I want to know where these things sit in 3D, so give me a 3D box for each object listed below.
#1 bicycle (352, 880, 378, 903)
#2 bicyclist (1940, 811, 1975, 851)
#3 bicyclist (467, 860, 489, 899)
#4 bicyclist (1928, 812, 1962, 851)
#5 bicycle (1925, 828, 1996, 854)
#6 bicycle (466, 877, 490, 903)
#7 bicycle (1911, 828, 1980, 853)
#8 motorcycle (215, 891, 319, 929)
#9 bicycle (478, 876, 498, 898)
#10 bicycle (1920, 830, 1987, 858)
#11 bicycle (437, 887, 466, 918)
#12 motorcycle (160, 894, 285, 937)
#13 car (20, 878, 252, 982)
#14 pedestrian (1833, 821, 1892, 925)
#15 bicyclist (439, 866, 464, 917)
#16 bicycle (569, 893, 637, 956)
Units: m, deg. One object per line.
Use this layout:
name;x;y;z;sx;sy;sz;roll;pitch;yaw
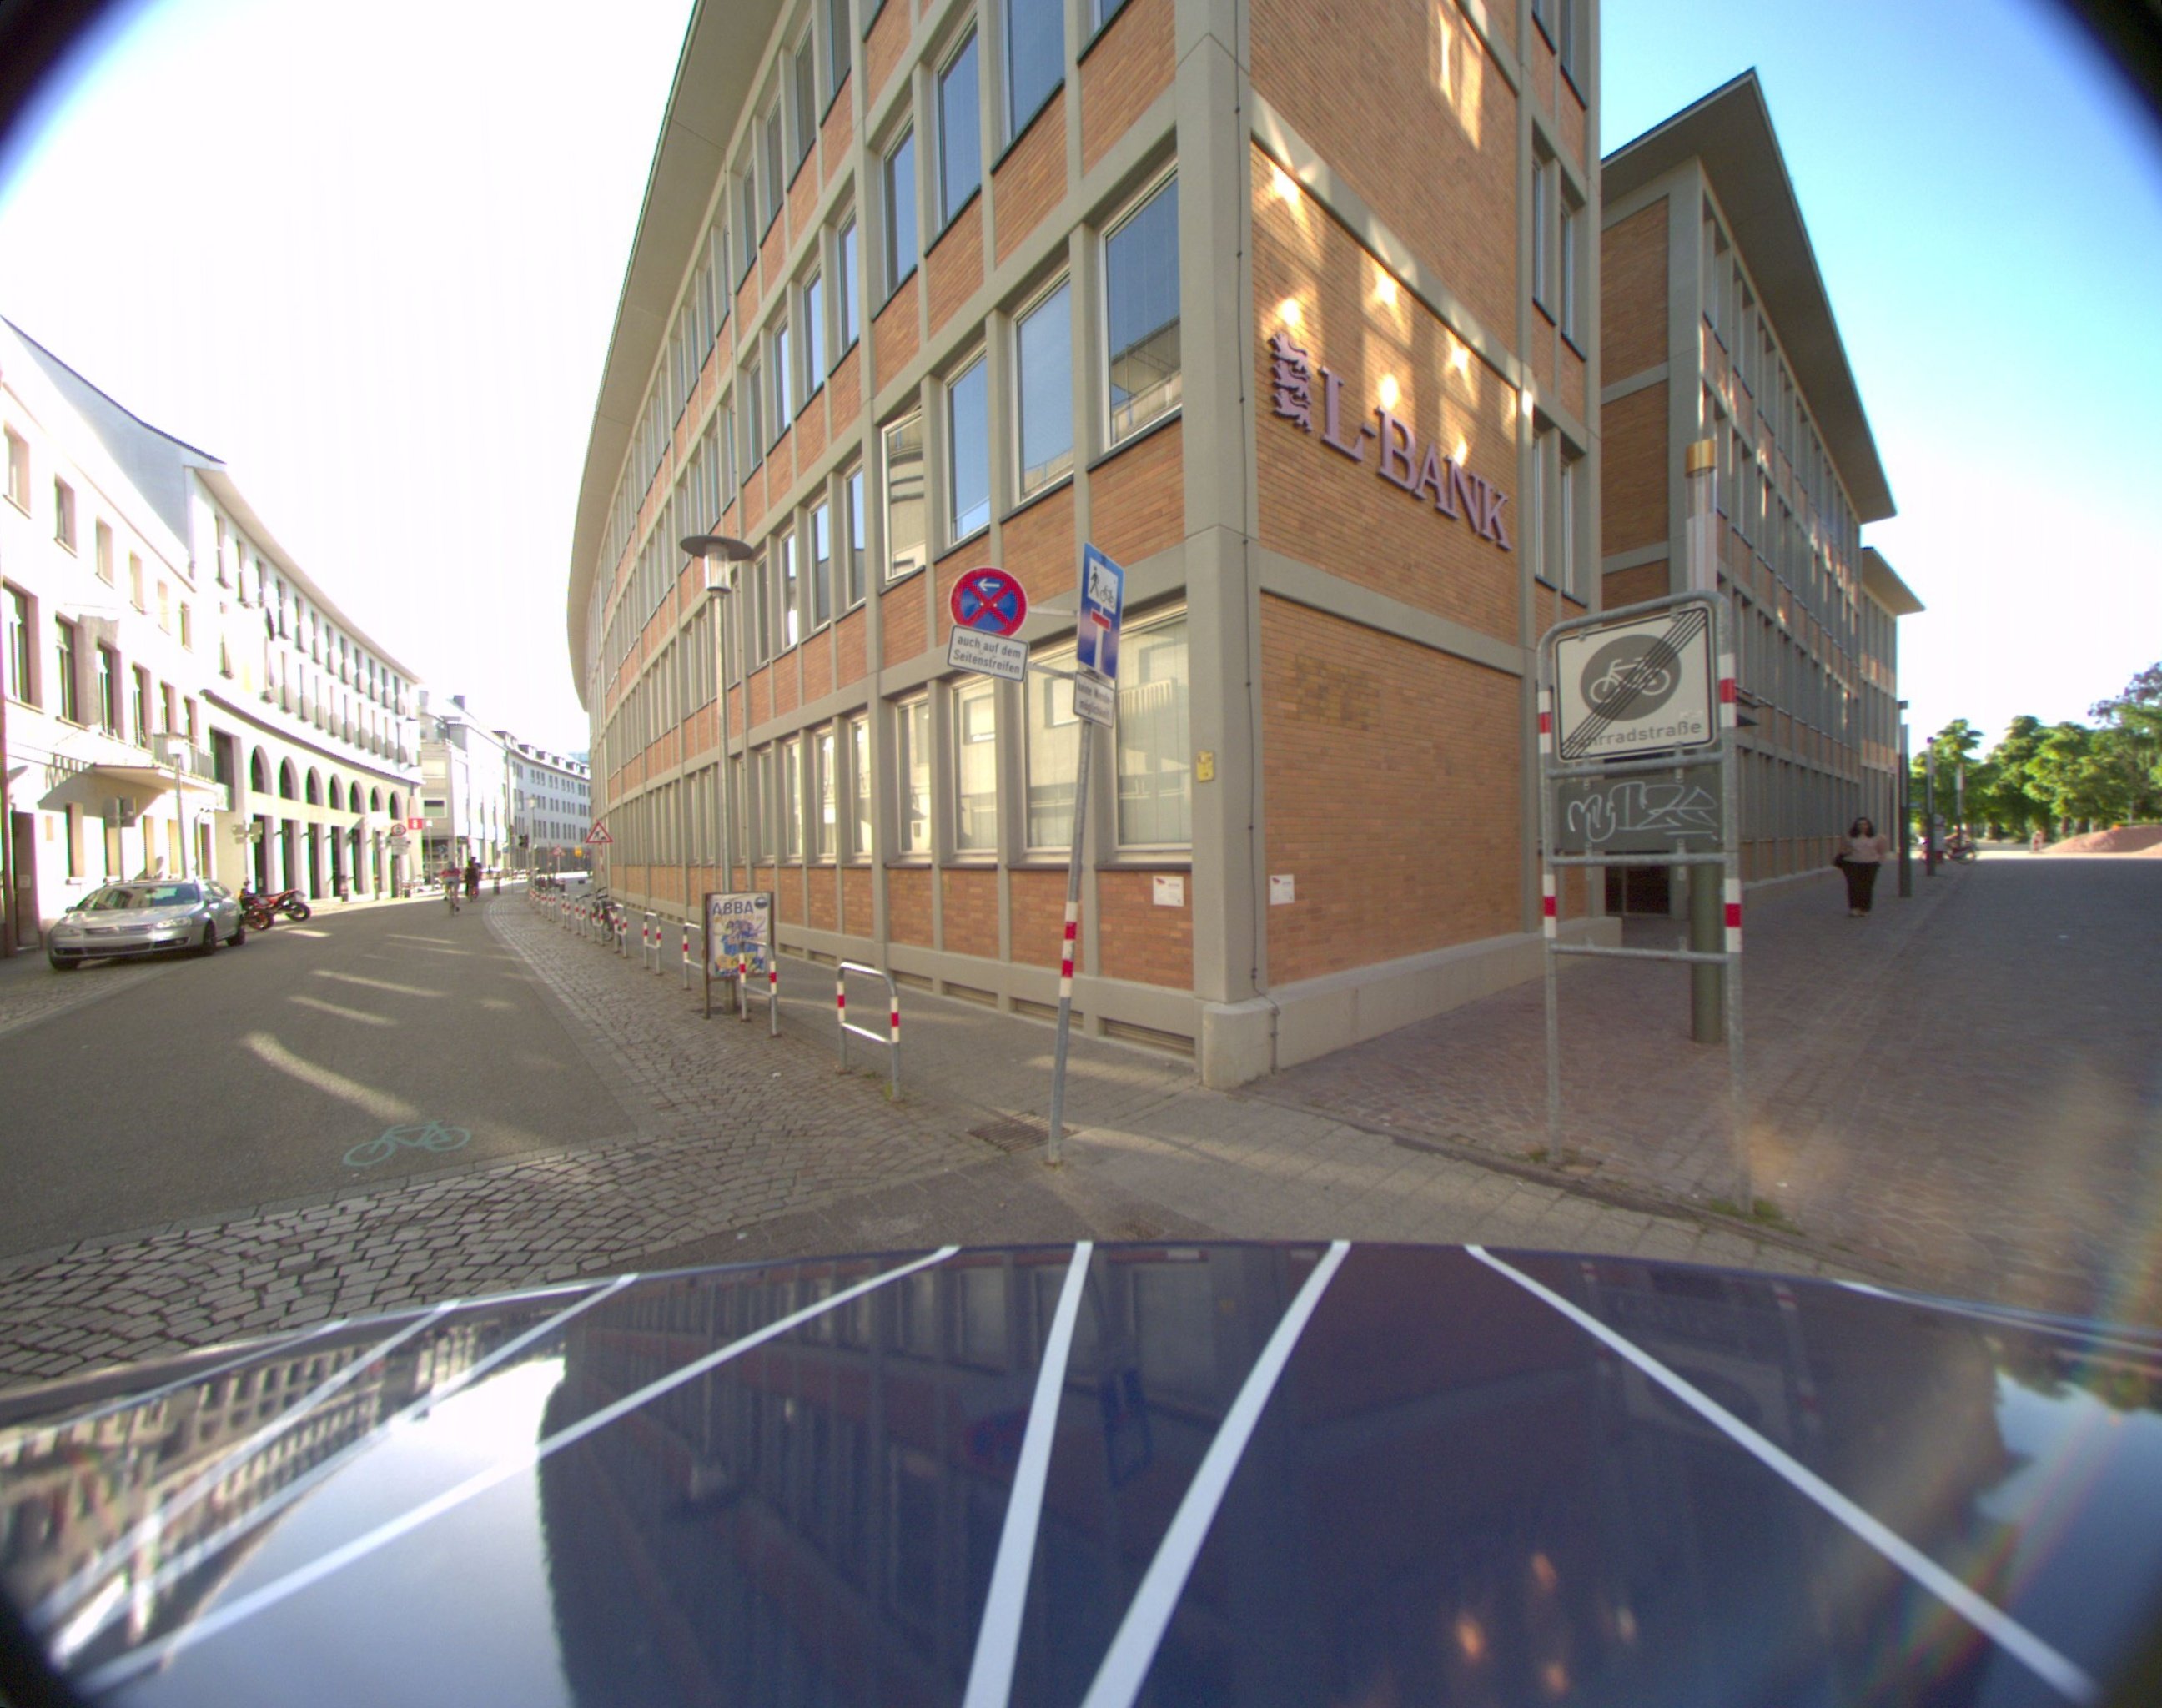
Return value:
bicycle;-33.271;1.726;35.324;0.578;0.955;1.715;-3;1;-34
bicyclist;44.702;-1.148;38.739;1.005;2.002;1.093;-3;2;-36
bicyclist;-24.679;1.047;31.108;0.582;1.566;0.690;-3;1;-35
bicyclist;45.227;-1.178;39.771;1.005;2.002;1.093;-3;2;-36
bicycle;44.778;-0.667;38.722;0.781;1.265;2.327;-3;1;-38
bicycle;-24.538;1.460;30.946;0.578;0.955;1.715;-3;1;-34
bicycle;45.199;-0.693;39.743;0.781;1.265;2.327;-3;1;-38
motorcycle;-24.308;1.663;22.738;2.002;0.950;0.644;-2;1;-26
bicycle;-27.313;1.514;35.022;0.578;0.955;1.715;-3;1;-34
bicycle;40.663;-0.466;35.433;2.071;1.253;0.724;-2;1;7
bicycle;-19.164;1.463;23.148;0.525;0.843;1.486;-3;1;-35
motorcycle;-22.033;1.564;19.563;2.002;0.950;0.644;-2;1;-26
car;-17.279;1.275;14.158;1.851;1.453;3.988;-4;2;-39
pedestrian;13.862;0.316;13.477;0.699;1.769;0.691;-3;2;-41
bicyclist;-19.246;1.134;23.233;0.474;1.495;0.793;-3;2;-36
bicycle;-9.023;1.292;14.316;1.817;1.048;0.629;-1;2;44
